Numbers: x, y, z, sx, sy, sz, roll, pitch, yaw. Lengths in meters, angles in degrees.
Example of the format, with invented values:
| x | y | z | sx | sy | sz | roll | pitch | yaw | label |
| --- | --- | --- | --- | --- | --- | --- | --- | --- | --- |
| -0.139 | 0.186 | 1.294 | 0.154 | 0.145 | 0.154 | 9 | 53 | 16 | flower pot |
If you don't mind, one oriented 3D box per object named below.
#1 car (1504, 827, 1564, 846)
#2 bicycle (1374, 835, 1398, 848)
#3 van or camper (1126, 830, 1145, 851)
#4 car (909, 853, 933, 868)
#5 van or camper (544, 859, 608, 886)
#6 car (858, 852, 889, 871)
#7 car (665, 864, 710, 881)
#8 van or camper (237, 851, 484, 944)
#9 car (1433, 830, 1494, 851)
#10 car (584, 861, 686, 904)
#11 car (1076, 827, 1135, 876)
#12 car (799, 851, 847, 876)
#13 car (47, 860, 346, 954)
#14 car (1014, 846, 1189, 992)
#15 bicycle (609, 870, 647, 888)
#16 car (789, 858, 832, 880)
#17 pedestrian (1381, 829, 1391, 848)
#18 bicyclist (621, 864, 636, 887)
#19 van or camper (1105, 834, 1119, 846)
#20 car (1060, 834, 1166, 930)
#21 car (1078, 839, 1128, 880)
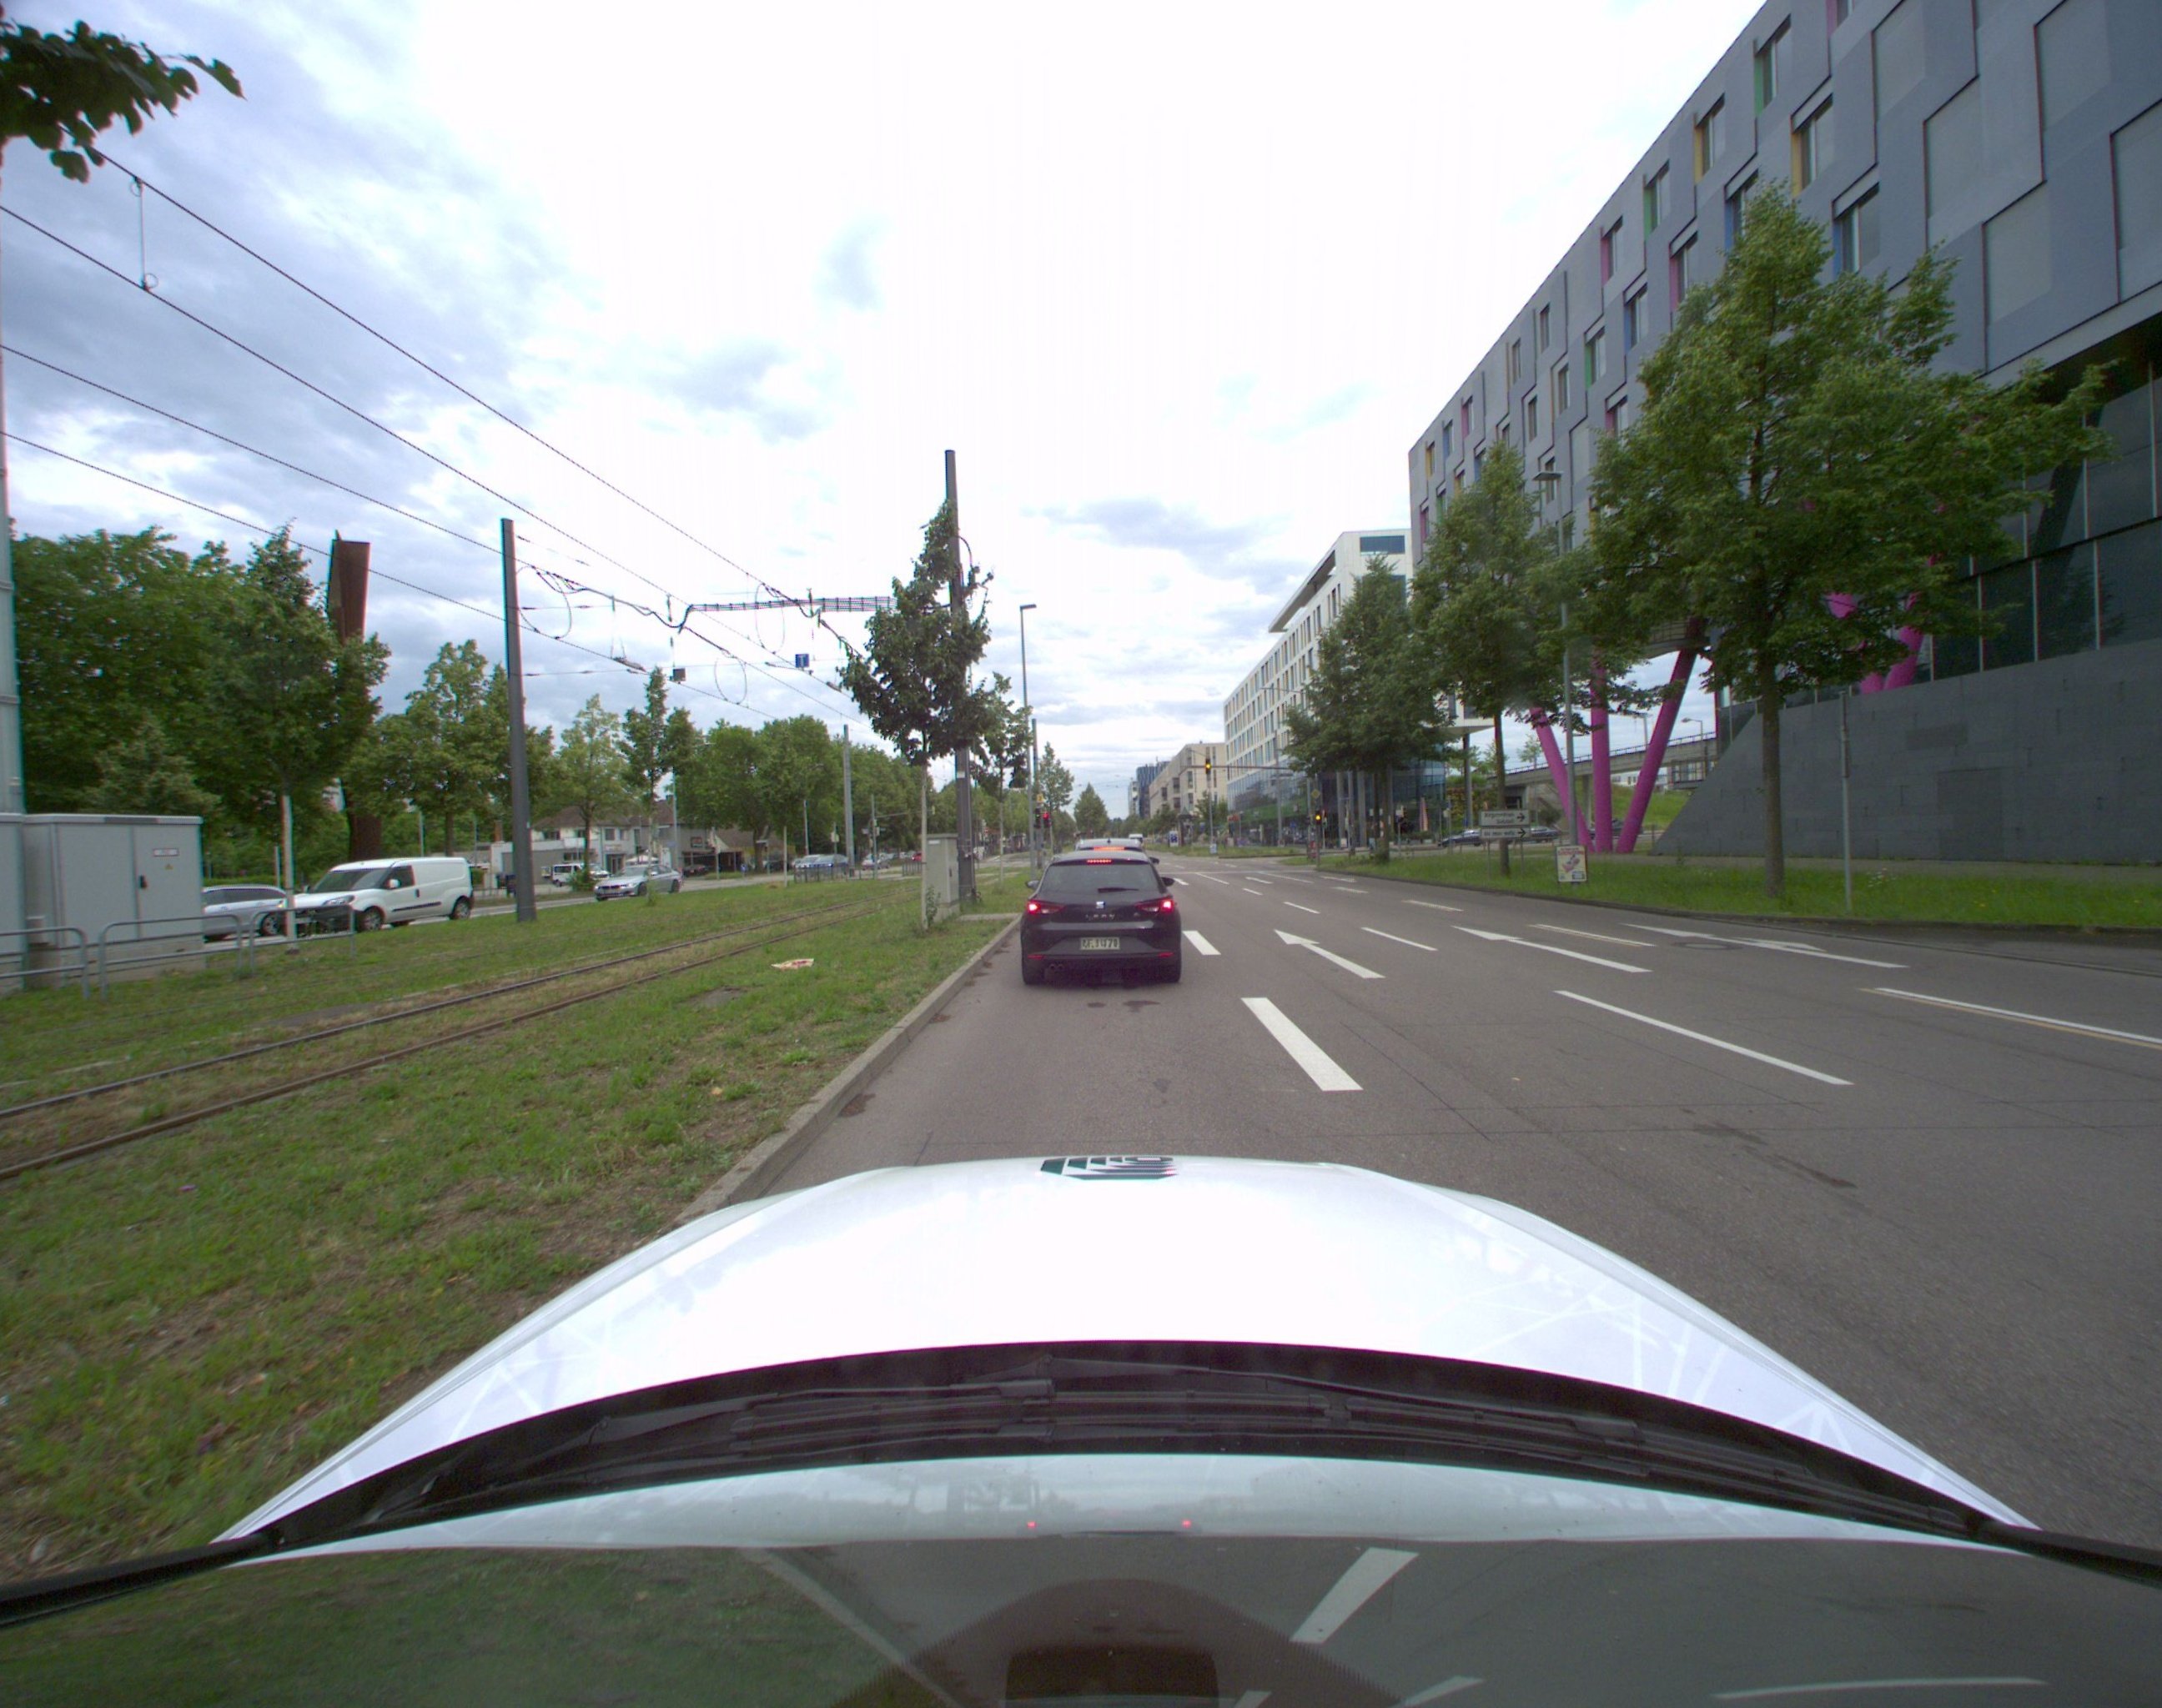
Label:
| x | y | z | sx | sy | sz | roll | pitch | yaw | label |
| --- | --- | --- | --- | --- | --- | --- | --- | --- | --- |
| 38.038 | -1.465 | 68.451 | 4.063 | 1.454 | 1.760 | -2 | 1 | 3 | car |
| 26.306 | -1.074 | 70.319 | 1.784 | 1.085 | 0.618 | -2 | 1 | 3 | bicycle |
| 6.617 | -1.653 | 98.580 | 2.101 | 2.355 | 4.927 | -2 | 3 | 2 | van or camper |
| -19.439 | 0.779 | 98.997 | 1.789 | 1.570 | 4.331 | -2 | 1 | 3 | car |
| -41.434 | 1.542 | 66.832 | 5.212 | 2.013 | 2.481 | -2 | 1 | 34 | van or camper |
| -19.975 | 0.714 | 78.448 | 1.715 | 1.643 | 4.674 | -2 | 1 | 0 | car |
| -46.927 | 2.192 | 97.230 | 4.258 | 1.815 | 2.111 | -2 | 1 | 6 | car |
| -17.864 | 0.955 | 20.647 | 1.886 | 1.900 | 5.116 | -3 | 1 | -5 | van or camper |
| 32.023 | -1.145 | 68.282 | 4.233 | 1.614 | 1.760 | -2 | 1 | 3 | car |
| -18.832 | 1.139 | 34.670 | 1.724 | 1.445 | 4.918 | -4 | 1 | -3 | car |
| 0.999 | -0.130 | 30.544 | 1.984 | 1.681 | 4.006 | -1 | 1 | 5 | car |
| -18.449 | 0.655 | 58.504 | 1.958 | 1.588 | 4.687 | -2 | 1 | -1 | car |
| -23.091 | 1.262 | 21.705 | 1.986 | 2.013 | 5.298 | -2 | 1 | 2 | car |
| 0.247 | 0.631 | 10.169 | 1.737 | 1.417 | 4.001 | -1 | 1 | 1 | car |
| -35.355 | 1.960 | 63.598 | 2.520 | 1.202 | 0.734 | -3 | 1 | -25 | bicycle |
| -21.136 | 1.151 | 63.835 | 1.790 | 1.570 | 4.578 | 0 | 0 | 0 | car |
| 26.295 | -1.333 | 70.316 | 0.612 | 1.604 | 0.619 | -2 | 1 | 4 | pedestrian |
| -35.340 | 1.690 | 63.612 | 0.854 | 1.721 | 0.715 | -3 | 1 | -25 | bicyclist |
| 4.545 | -2.034 | 118.239 | 1.986 | 1.615 | 4.793 | -2 | 2 | 2 | van or camper |
| 0.620 | 0.460 | 16.266 | 1.796 | 1.624 | 4.002 | -2 | 1 | 2 | car |
| 1.028 | 0.193 | 35.976 | 1.985 | 1.681 | 4.005 | -1 | 1 | 4 | car |
